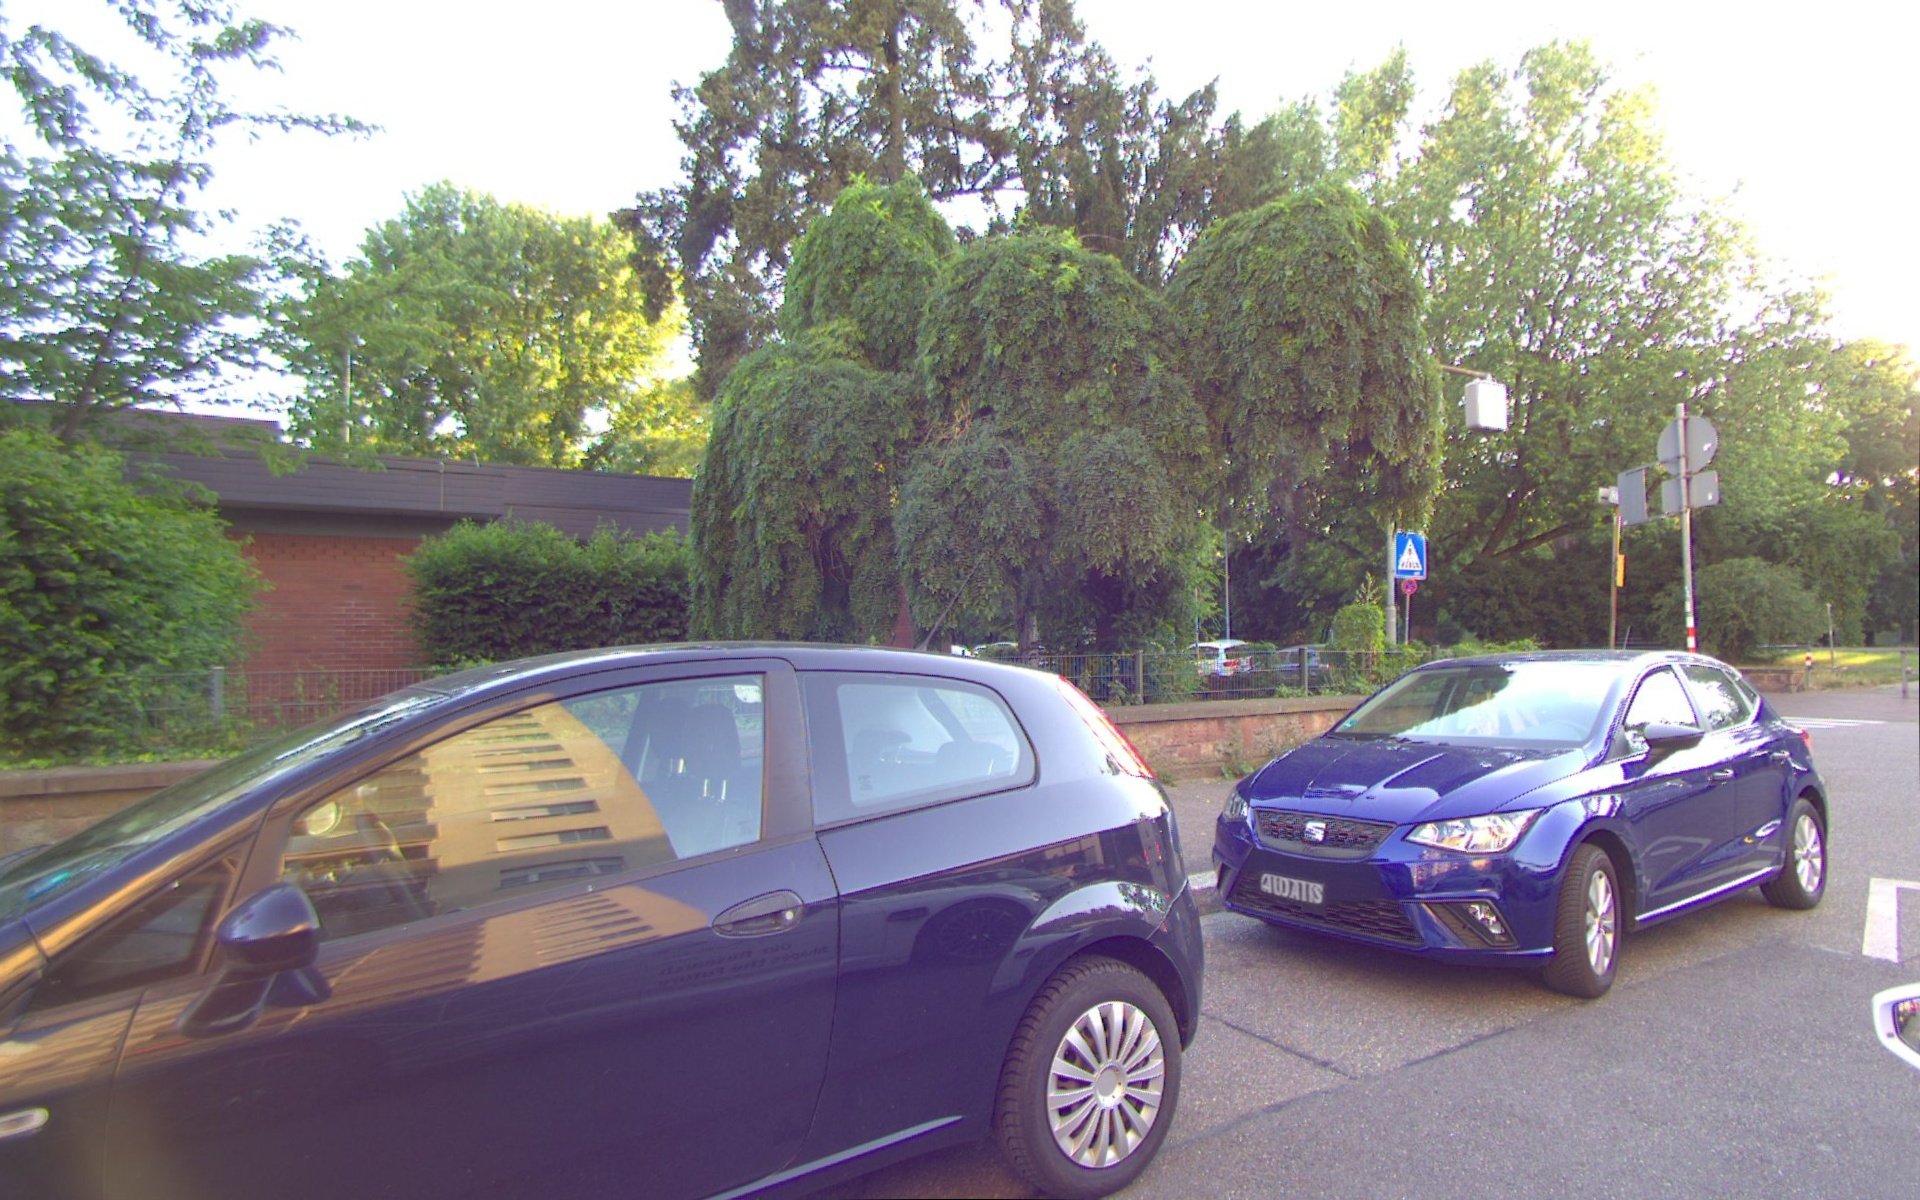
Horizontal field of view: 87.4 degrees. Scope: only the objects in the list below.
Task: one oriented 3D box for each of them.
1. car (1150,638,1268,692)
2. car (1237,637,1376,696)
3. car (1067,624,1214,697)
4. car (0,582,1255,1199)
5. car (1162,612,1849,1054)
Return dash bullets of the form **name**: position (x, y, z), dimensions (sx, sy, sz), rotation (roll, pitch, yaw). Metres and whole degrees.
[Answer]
- **car**: position (8.657, 2.272, 35.196), dimensions (1.800, 1.583, 3.856), rotation (-6, 0, -27)
- **car**: position (10.540, 2.013, 30.824), dimensions (1.798, 1.511, 3.843), rotation (-6, 0, -24)
- **car**: position (4.918, 1.703, 27.936), dimensions (1.801, 1.821, 4.212), rotation (4, -5, -28)
- **car**: position (-1.139, 0.833, 2.645), dimensions (3.659, 1.587, 1.723), rotation (1, -4, -34)
- **car**: position (3.061, 0.919, 5.435), dimensions (3.752, 1.587, 1.723), rotation (1, -4, -35)
